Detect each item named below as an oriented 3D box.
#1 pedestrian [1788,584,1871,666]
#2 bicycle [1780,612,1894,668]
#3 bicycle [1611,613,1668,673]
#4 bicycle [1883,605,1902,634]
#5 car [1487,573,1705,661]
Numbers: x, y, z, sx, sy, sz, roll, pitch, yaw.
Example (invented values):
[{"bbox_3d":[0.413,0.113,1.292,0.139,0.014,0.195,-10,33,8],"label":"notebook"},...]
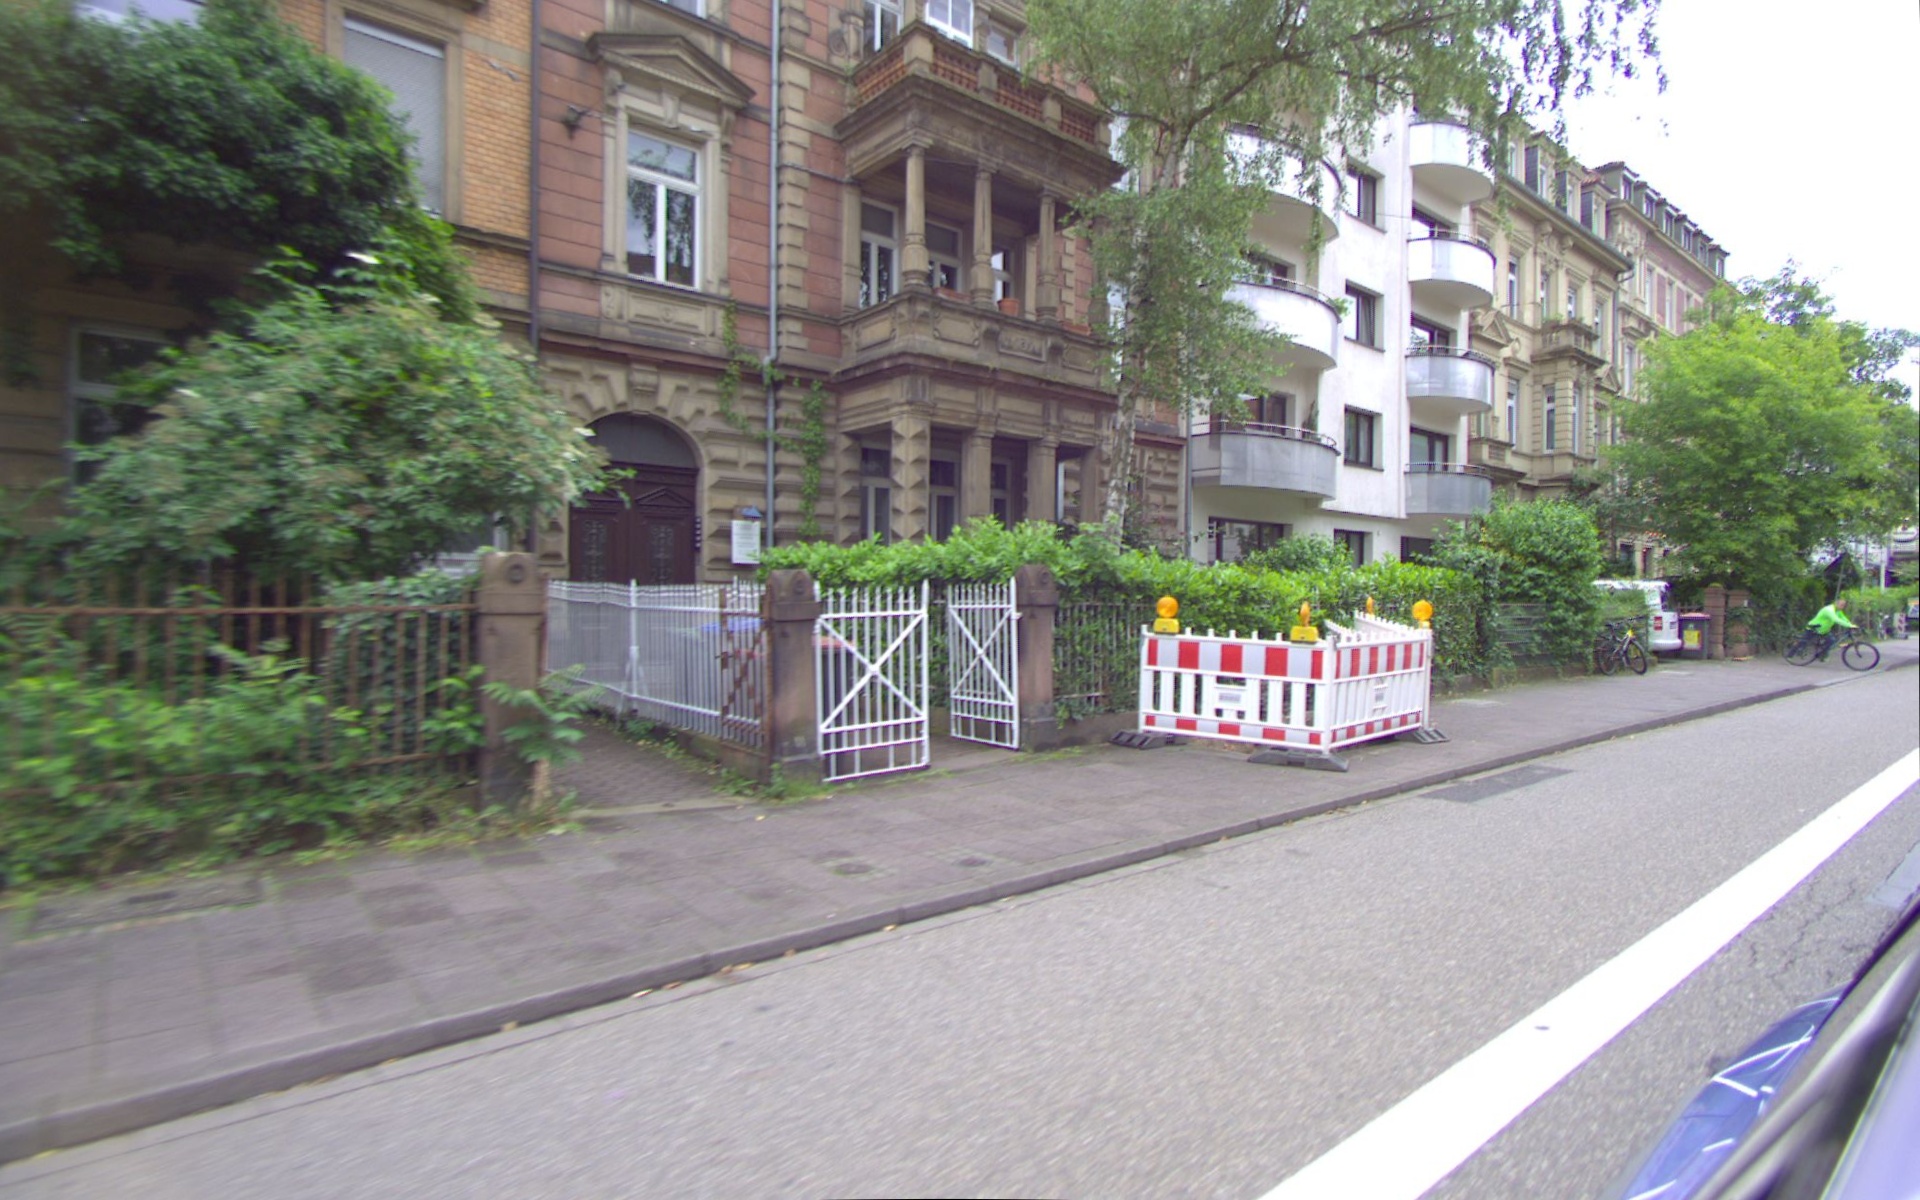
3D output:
[{"bbox_3d":[20.068,0.554,23.366,1.000,1.754,1.231,1,3,-41],"label":"pedestrian"},{"bbox_3d":[20.118,0.888,23.249,0.596,1.089,1.845,1,3,-41],"label":"bicycle"},{"bbox_3d":[12.698,0.784,18.891,1.504,1.058,0.480,0,0,-40],"label":"bicycle"},{"bbox_3d":[34.848,0.712,37.820,1.816,1.055,0.302,0,0,-41],"label":"bicycle"},{"bbox_3d":[14.885,0.321,23.841,1.776,1.881,3.996,0,1,-39],"label":"car"}]
